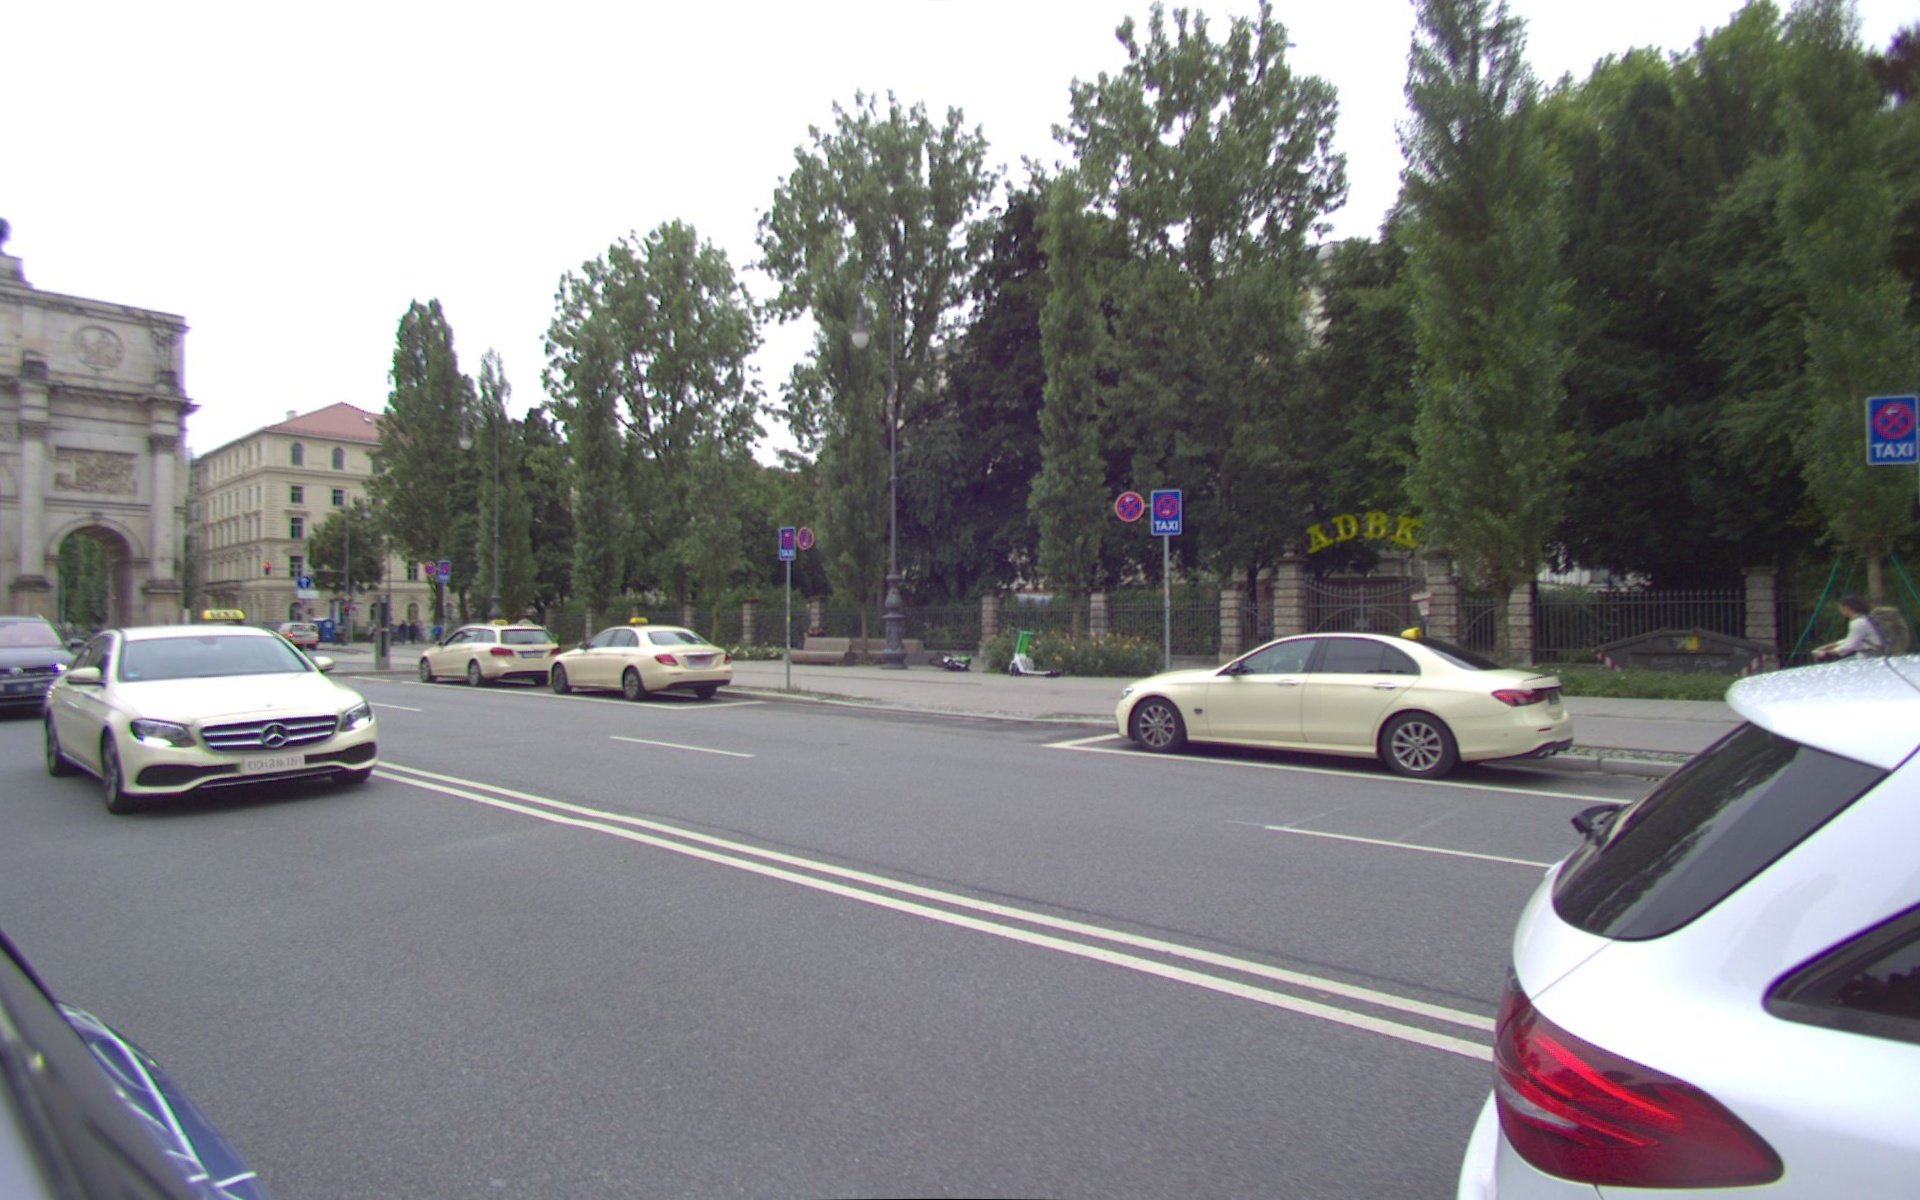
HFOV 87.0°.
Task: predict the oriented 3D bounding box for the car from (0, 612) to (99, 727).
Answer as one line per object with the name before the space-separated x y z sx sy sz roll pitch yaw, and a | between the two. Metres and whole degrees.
car | -15.611 1.058 16.377 4.409 1.636 1.928 -1 1 41

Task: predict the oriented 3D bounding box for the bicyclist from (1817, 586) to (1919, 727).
bicyclist | 10.261 0.623 11.412 0.861 1.510 0.687 -2 -2 40

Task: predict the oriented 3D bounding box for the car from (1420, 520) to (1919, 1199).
car | 2.892 0.622 0.435 4.581 1.465 1.806 -1 0 41

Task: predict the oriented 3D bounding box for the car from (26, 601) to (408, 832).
car | -7.088 0.863 9.440 4.687 1.587 1.895 -1 0 41

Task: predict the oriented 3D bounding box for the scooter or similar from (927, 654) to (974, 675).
scooter or similar | -0.280 1.875 29.572 1.314 0.522 2.236 0 -2 0

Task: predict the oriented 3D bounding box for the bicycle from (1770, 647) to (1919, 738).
bicycle | 10.260 1.023 11.405 1.733 0.946 0.700 -1 -1 40

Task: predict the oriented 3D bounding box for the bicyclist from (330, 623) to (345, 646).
bicyclist | -48.475 2.694 78.810 0.858 1.723 0.636 -2 -2 34

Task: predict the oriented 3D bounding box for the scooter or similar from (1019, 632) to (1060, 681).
scooter or similar | 2.017 1.435 25.776 1.122 1.210 0.240 -1 -2 41

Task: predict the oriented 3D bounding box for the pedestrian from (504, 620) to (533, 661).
pedestrian | -18.356 1.669 42.112 0.834 1.691 0.968 1 -2 -43

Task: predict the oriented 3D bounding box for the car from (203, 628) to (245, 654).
car | -50.192 2.778 69.015 1.760 1.684 4.003 1 -2 -44

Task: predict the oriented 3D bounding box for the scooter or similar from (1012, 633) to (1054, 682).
scooter or similar | 1.844 1.436 25.581 1.122 1.210 0.240 -1 -2 41

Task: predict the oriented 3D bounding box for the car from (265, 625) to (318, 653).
car | -47.180 2.754 71.416 4.990 1.869 1.977 0 -2 43

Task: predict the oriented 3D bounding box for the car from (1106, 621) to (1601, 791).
car | 4.178 1.029 11.326 4.789 1.509 1.910 -2 -3 42

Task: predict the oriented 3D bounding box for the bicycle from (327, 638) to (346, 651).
bicycle | -48.572 3.439 78.854 1.758 0.981 0.636 -2 -2 35

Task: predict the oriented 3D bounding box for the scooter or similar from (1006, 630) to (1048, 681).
scooter or similar | 1.666 1.383 25.381 1.140 1.251 0.255 -2 -2 42

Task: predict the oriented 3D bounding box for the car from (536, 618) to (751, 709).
car | -6.623 1.204 20.863 4.962 1.637 1.917 -1 -2 41

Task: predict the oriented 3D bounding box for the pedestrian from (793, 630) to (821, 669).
pedestrian | -5.463 1.768 36.183 0.832 1.347 0.574 -1 -2 14

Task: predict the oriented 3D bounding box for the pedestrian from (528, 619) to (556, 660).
pedestrian | -17.556 1.662 42.499 0.834 1.691 0.968 1 -2 -43

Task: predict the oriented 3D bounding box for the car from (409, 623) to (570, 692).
car | -11.884 1.393 25.393 4.856 1.571 1.799 -1 -3 41

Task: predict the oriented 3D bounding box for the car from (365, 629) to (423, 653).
car | -48.971 3.504 87.586 1.999 2.029 3.946 -2 -2 41

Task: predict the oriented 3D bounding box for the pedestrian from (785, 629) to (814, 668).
pedestrian | -5.624 1.686 35.475 0.832 1.347 0.574 -1 -2 15

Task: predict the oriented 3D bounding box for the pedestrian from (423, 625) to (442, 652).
pedestrian | -36.240 2.648 69.594 0.746 1.799 0.912 -1 -2 12

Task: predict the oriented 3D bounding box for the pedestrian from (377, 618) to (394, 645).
pedestrian | -43.253 2.345 76.216 0.747 2.029 0.793 -1 -2 6
